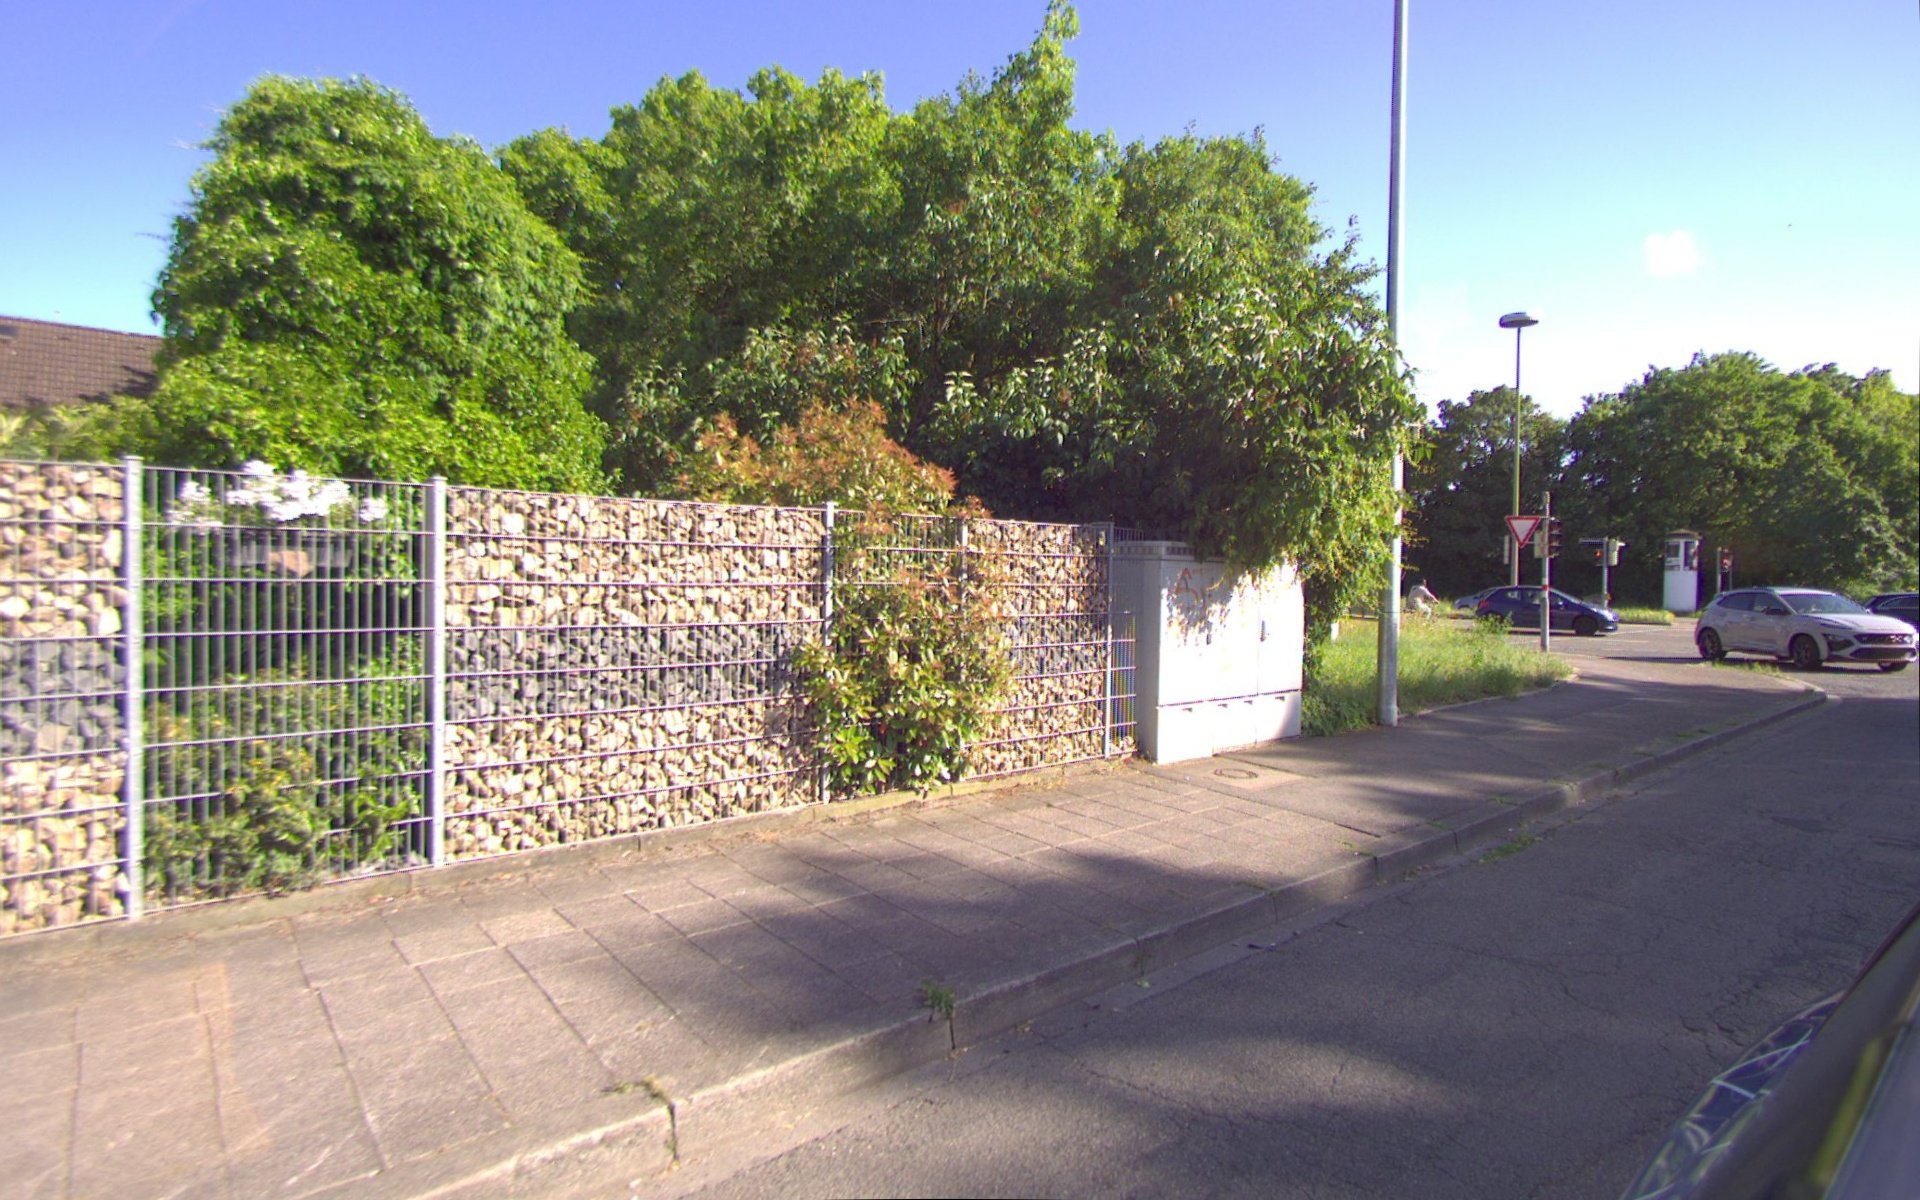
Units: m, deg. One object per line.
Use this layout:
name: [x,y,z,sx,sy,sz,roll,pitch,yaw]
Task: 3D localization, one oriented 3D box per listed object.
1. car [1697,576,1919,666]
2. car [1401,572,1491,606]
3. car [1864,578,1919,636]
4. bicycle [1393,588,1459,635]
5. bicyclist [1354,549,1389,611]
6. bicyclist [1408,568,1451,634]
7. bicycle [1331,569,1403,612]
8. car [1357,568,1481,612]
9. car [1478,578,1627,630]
car: [17.147,0.343,20.420,1.662,1.592,4.118,0,2,3]
car: [23.152,-0.555,48.256,3.580,1.449,1.532,3,3,38]
car: [28.437,0.261,28.691,1.596,1.559,3.995,-3,5,-41]
bicycle: [12.508,0.305,27.125,1.832,1.089,0.532,5,2,-29]
bicyclist: [11.724,-0.580,28.841,0.573,1.717,0.528,4,2,-12]
bicyclist: [12.578,0.027,27.102,0.791,1.655,0.544,5,2,-30]
bicycle: [11.586,-0.273,28.839,1.831,1.089,0.532,4,2,-13]
car: [18.236,-0.435,40.293,4.172,1.557,1.812,3,2,37]
car: [18.631,0.068,31.875,3.890,1.457,1.671,2,4,38]
